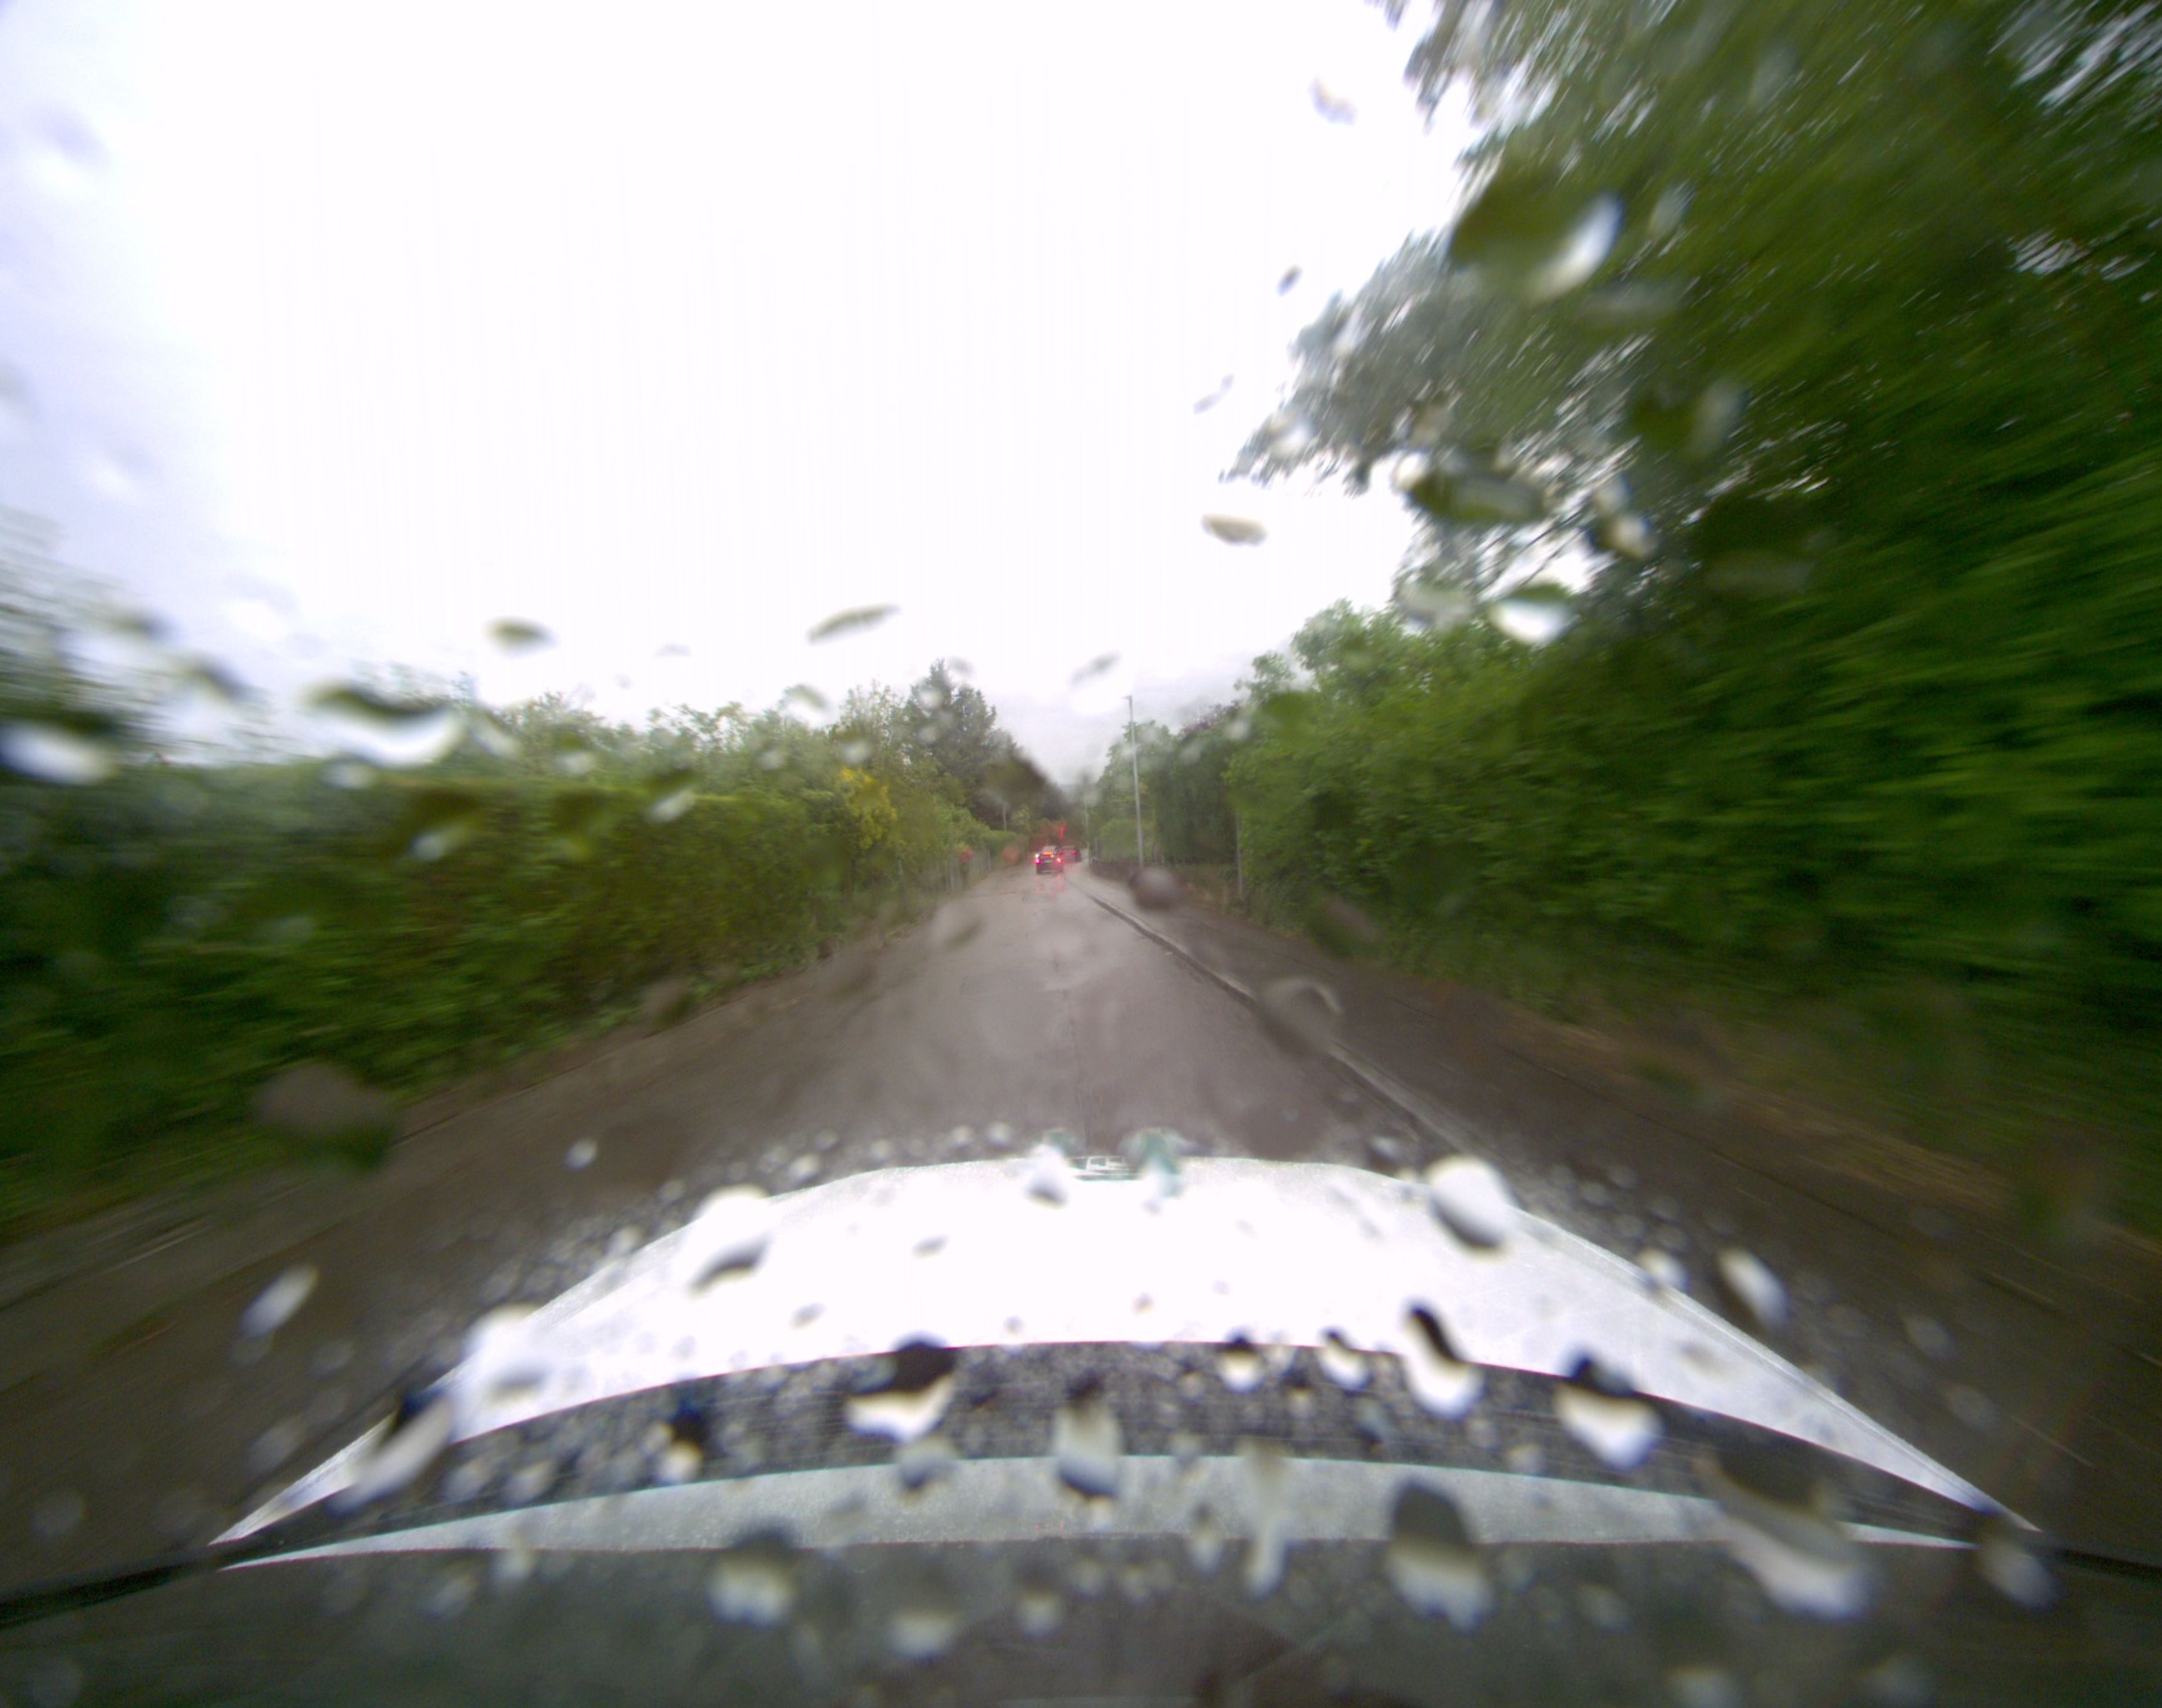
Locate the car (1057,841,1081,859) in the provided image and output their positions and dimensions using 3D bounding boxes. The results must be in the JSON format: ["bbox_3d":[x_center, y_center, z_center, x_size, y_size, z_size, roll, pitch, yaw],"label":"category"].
[{"bbox_3d":[-1.118,-0.412,78.229,1.668,1.565,3.805,-1,2,9],"label":"car"}]

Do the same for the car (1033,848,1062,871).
[{"bbox_3d":[-2.257,0.370,55.678,1.830,1.464,3.998,0,0,-1],"label":"car"}]
